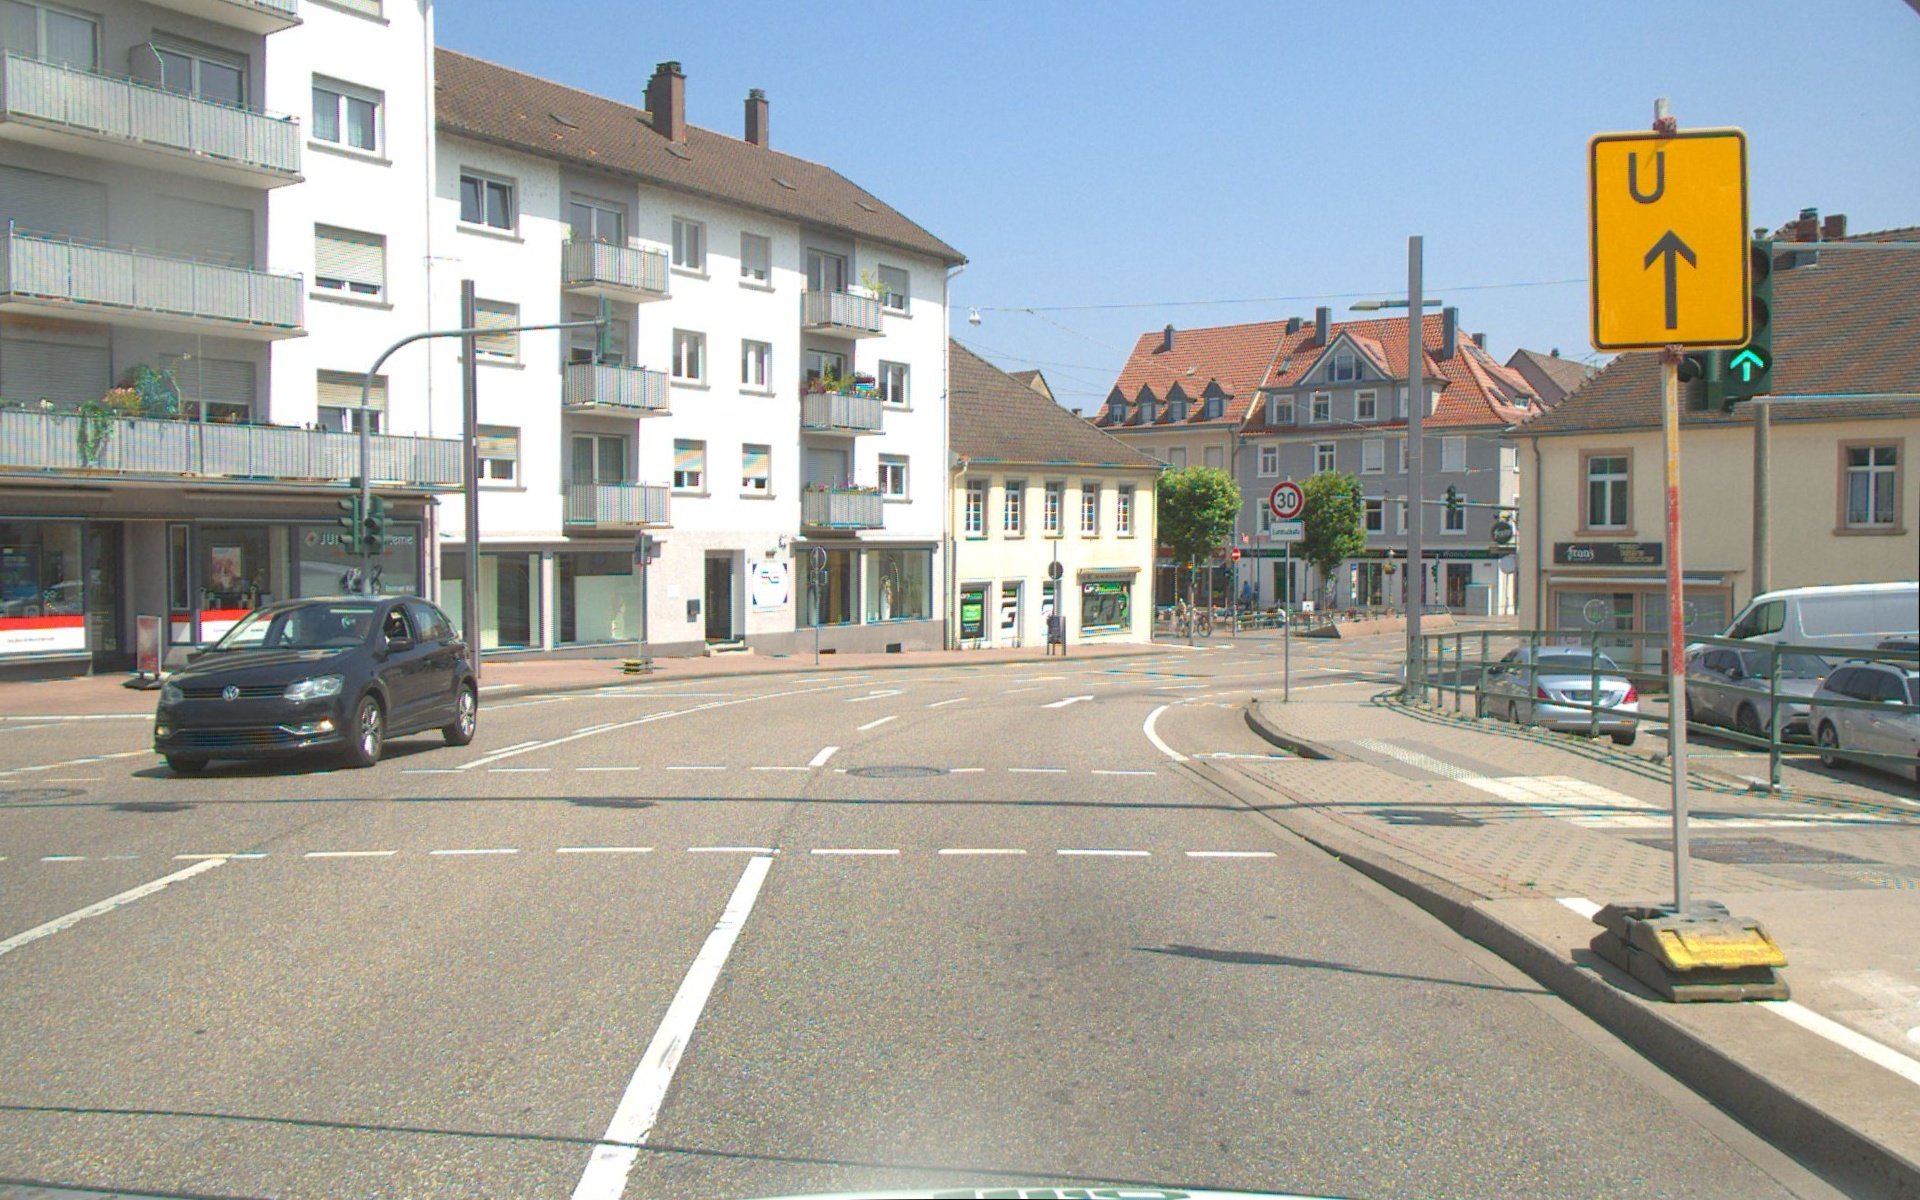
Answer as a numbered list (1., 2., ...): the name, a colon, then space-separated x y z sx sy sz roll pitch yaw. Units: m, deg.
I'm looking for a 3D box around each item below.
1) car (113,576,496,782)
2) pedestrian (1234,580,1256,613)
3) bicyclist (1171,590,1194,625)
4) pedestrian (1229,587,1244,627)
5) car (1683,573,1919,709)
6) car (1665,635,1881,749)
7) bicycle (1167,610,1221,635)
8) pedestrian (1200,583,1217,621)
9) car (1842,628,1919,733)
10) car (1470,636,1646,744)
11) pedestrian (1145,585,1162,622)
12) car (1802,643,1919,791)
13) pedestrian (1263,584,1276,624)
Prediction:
1. car: -5.544 0.624 14.556 1.641 1.514 3.956 -2 -1 2
2. pedestrian: 17.703 -0.200 102.847 1.013 2.015 1.017 2 2 34
3. bicyclist: 10.179 0.348 75.667 0.898 1.565 0.649 1 2 -1
4. pedestrian: 14.338 0.359 85.741 0.752 2.048 0.563 1 2 11
5. car: 18.401 0.796 34.873 5.515 2.673 2.236 1 1 33
6. car: 12.981 1.408 26.708 1.714 1.545 4.256 1 0 5
7. bicycle: 10.690 1.018 75.713 2.306 1.069 1.071 1 2 -2
8. pedestrian: 13.214 0.112 88.033 0.780 1.999 0.532 1 2 20
9. car: 15.604 1.279 25.820 1.714 1.545 4.256 1 0 5
10. car: 9.815 1.426 27.477 1.714 1.497 4.256 1 0 5
11. pedestrian: 10.206 0.177 87.287 0.810 1.906 0.867 1 2 4
12. car: 12.806 1.511 21.365 1.887 1.607 4.490 1 2 5
13. pedestrian: 16.187 0.220 86.518 0.597 2.048 0.555 1 2 11
